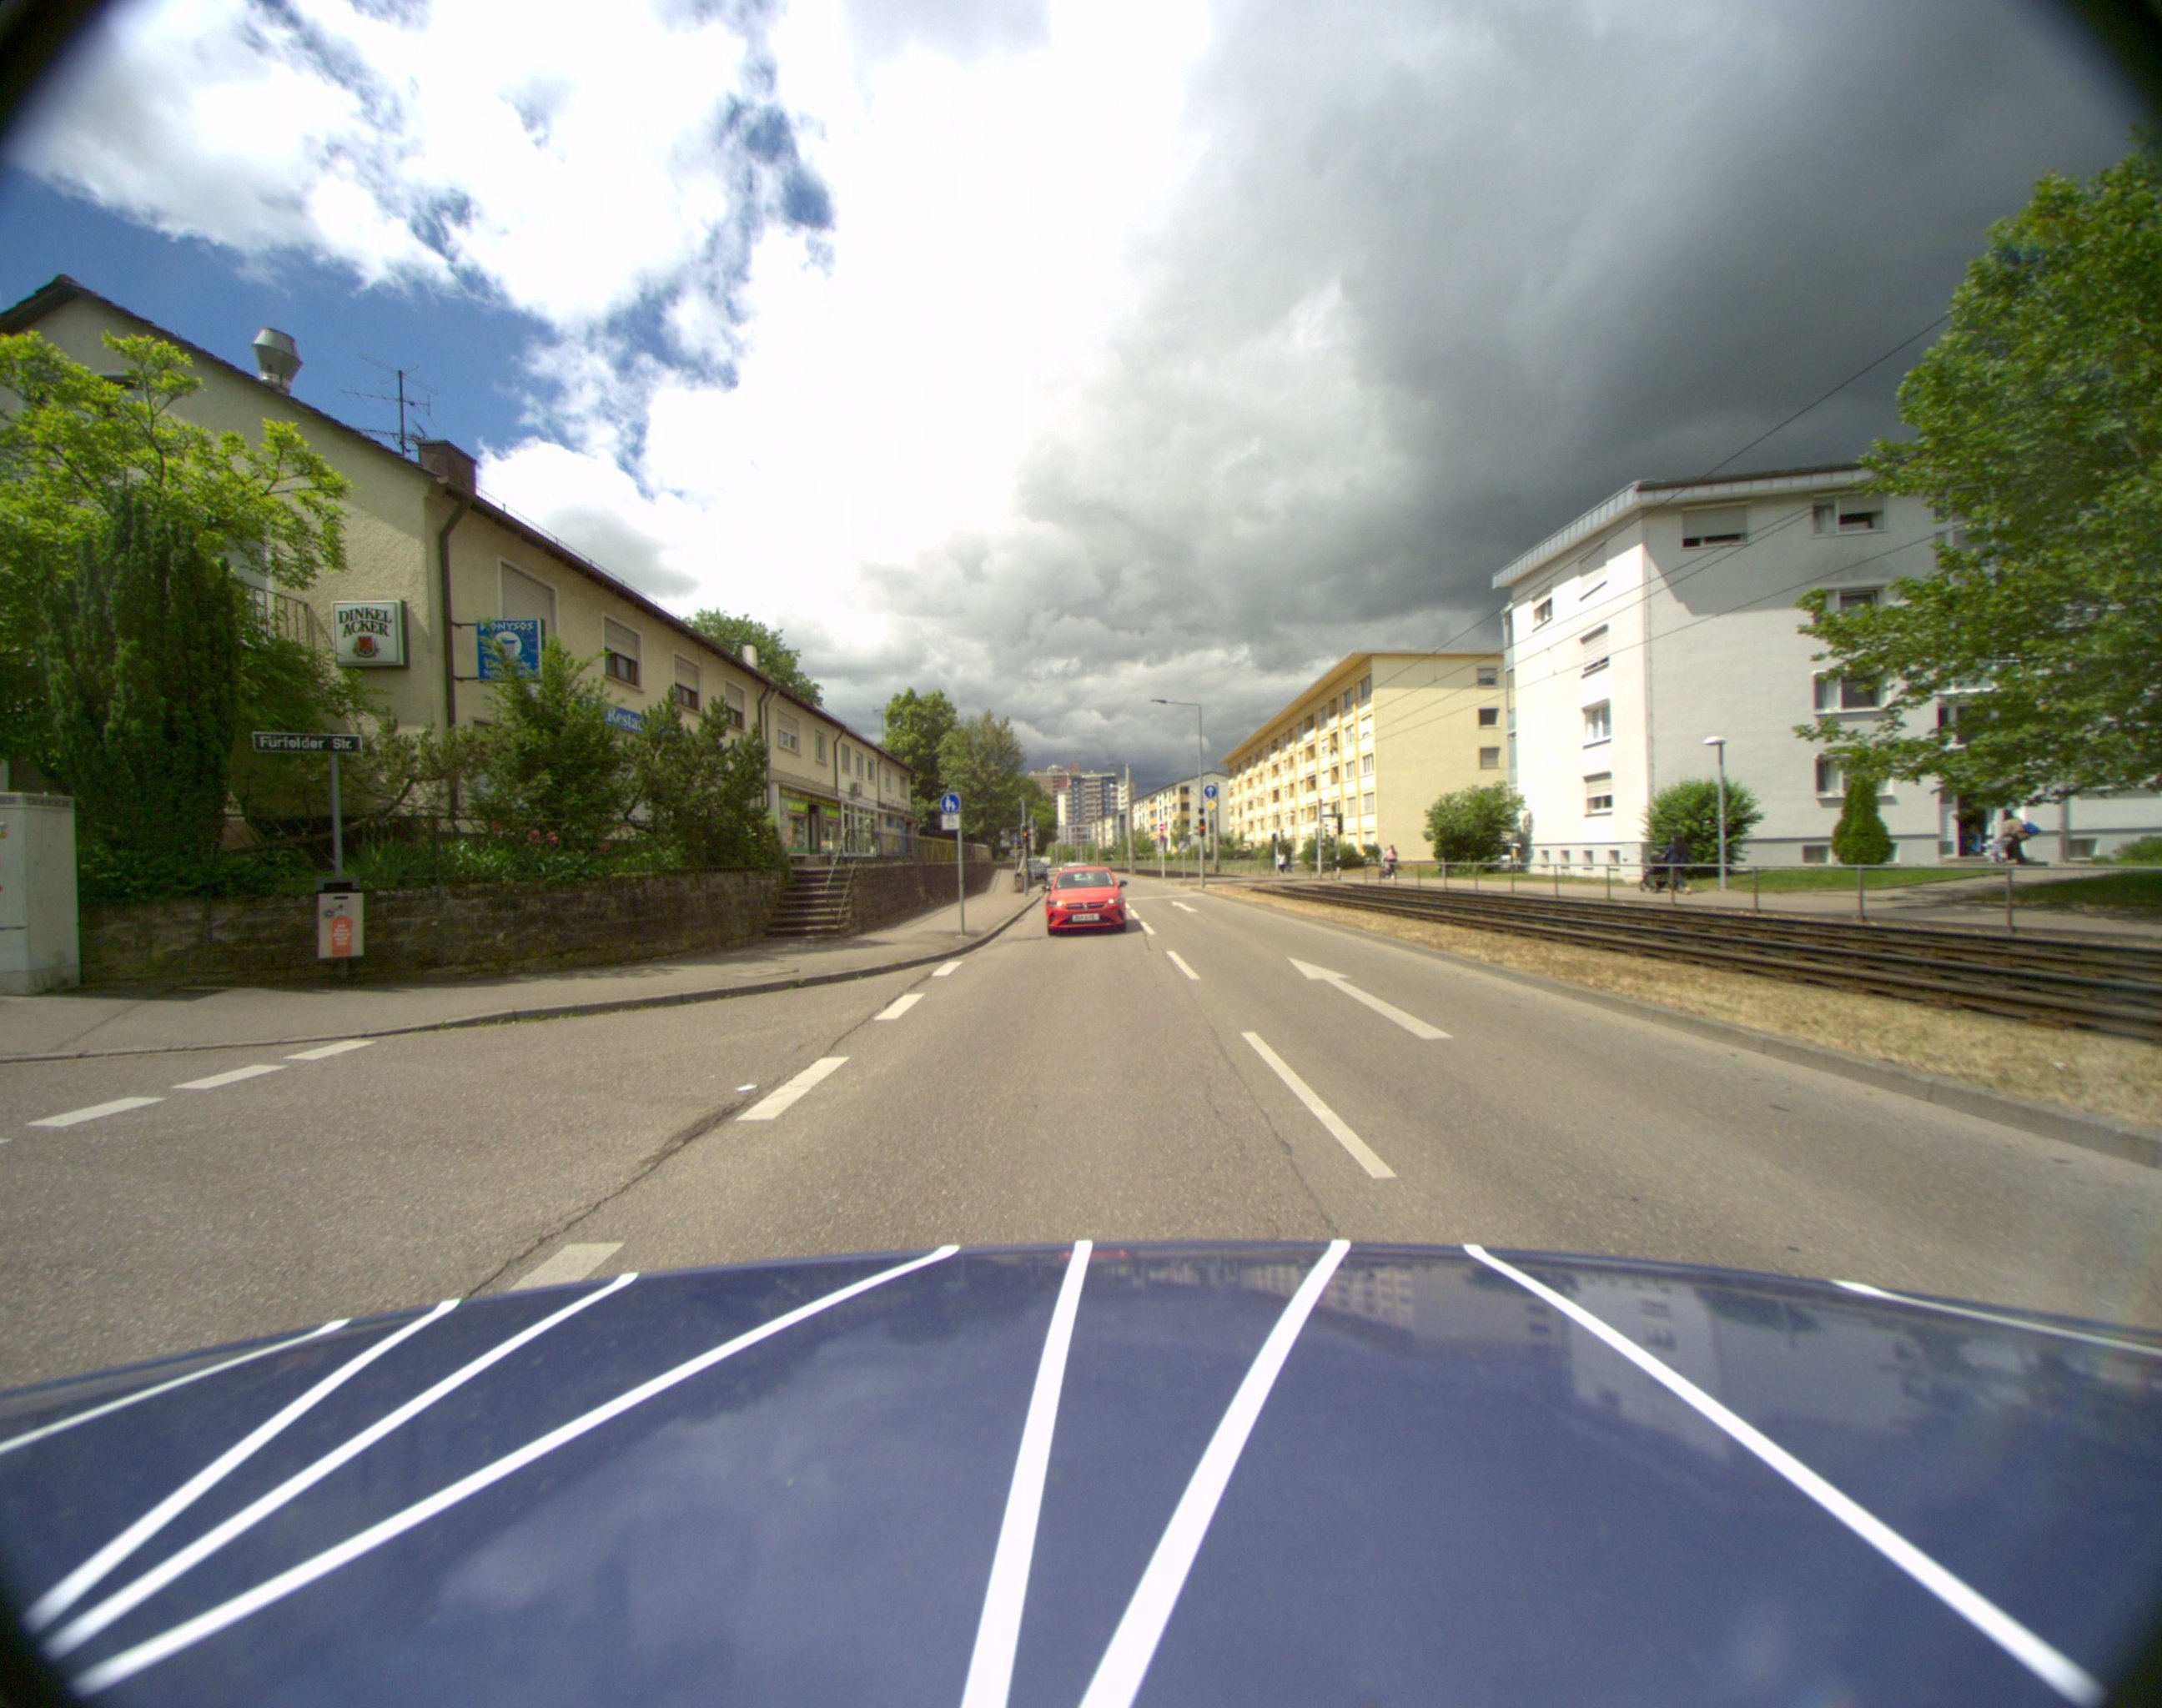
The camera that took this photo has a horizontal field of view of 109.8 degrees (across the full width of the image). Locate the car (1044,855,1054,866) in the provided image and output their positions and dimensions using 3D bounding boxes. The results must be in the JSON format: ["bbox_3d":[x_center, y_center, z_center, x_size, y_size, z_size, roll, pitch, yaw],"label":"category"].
[{"bbox_3d":[-7.273,1.467,173.236,2.237,2.460,5.084,-1,0,-4],"label":"car"}]

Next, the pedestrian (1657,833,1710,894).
[{"bbox_3d":[15.773,0.244,19.907,0.614,1.531,0.874,-3,1,-2],"label":"pedestrian"}]

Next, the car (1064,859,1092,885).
[{"bbox_3d":[-0.220,1.069,46.314,1.499,1.477,3.519,-2,0,-4],"label":"car"}]

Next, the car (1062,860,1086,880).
[{"bbox_3d":[-0.596,1.187,58.900,1.639,1.346,3.999,-4,0,-2],"label":"car"}]

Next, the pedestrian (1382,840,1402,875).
[{"bbox_3d":[15.362,0.178,37.535,0.647,1.683,0.679,-3,1,0],"label":"pedestrian"}]

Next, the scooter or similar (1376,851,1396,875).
[{"bbox_3d":[15.360,0.440,38.328,0.609,1.156,0.891,-2,1,0],"label":"scooter or similar"}]

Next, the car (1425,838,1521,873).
[{"bbox_3d":[21.592,0.076,41.994,4.286,1.719,1.810,-2,1,6],"label":"car"}]

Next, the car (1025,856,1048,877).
[{"bbox_3d":[-3.645,0.986,61.560,1.760,1.570,4.020,-1,0,-4],"label":"car"}]

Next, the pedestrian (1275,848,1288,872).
[{"bbox_3d":[13.919,0.396,52.734,0.605,1.598,0.773,-4,1,-1],"label":"pedestrian"}]

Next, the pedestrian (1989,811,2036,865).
[{"bbox_3d":[27.589,-0.482,22.517,0.685,1.534,0.514,-4,6,6],"label":"pedestrian"}]

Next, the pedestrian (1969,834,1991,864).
[{"bbox_3d":[27.057,-0.152,22.874,0.330,0.878,0.256,-4,4,11],"label":"pedestrian"}]

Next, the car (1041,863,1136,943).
[{"bbox_3d":[0.049,1.025,17.555,1.784,1.434,4.129,-4,0,-4],"label":"car"}]

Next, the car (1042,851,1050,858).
[{"bbox_3d":[-10.146,0.053,218.266,2.237,2.050,4.360,-1,0,-4],"label":"car"}]

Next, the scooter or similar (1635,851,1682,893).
[{"bbox_3d":[15.762,0.480,20.762,0.606,1.108,0.821,-3,1,-2],"label":"scooter or similar"}]

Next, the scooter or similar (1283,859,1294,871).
[{"bbox_3d":[14.398,0.779,52.713,0.534,0.769,0.666,-4,1,-1],"label":"scooter or similar"}]
